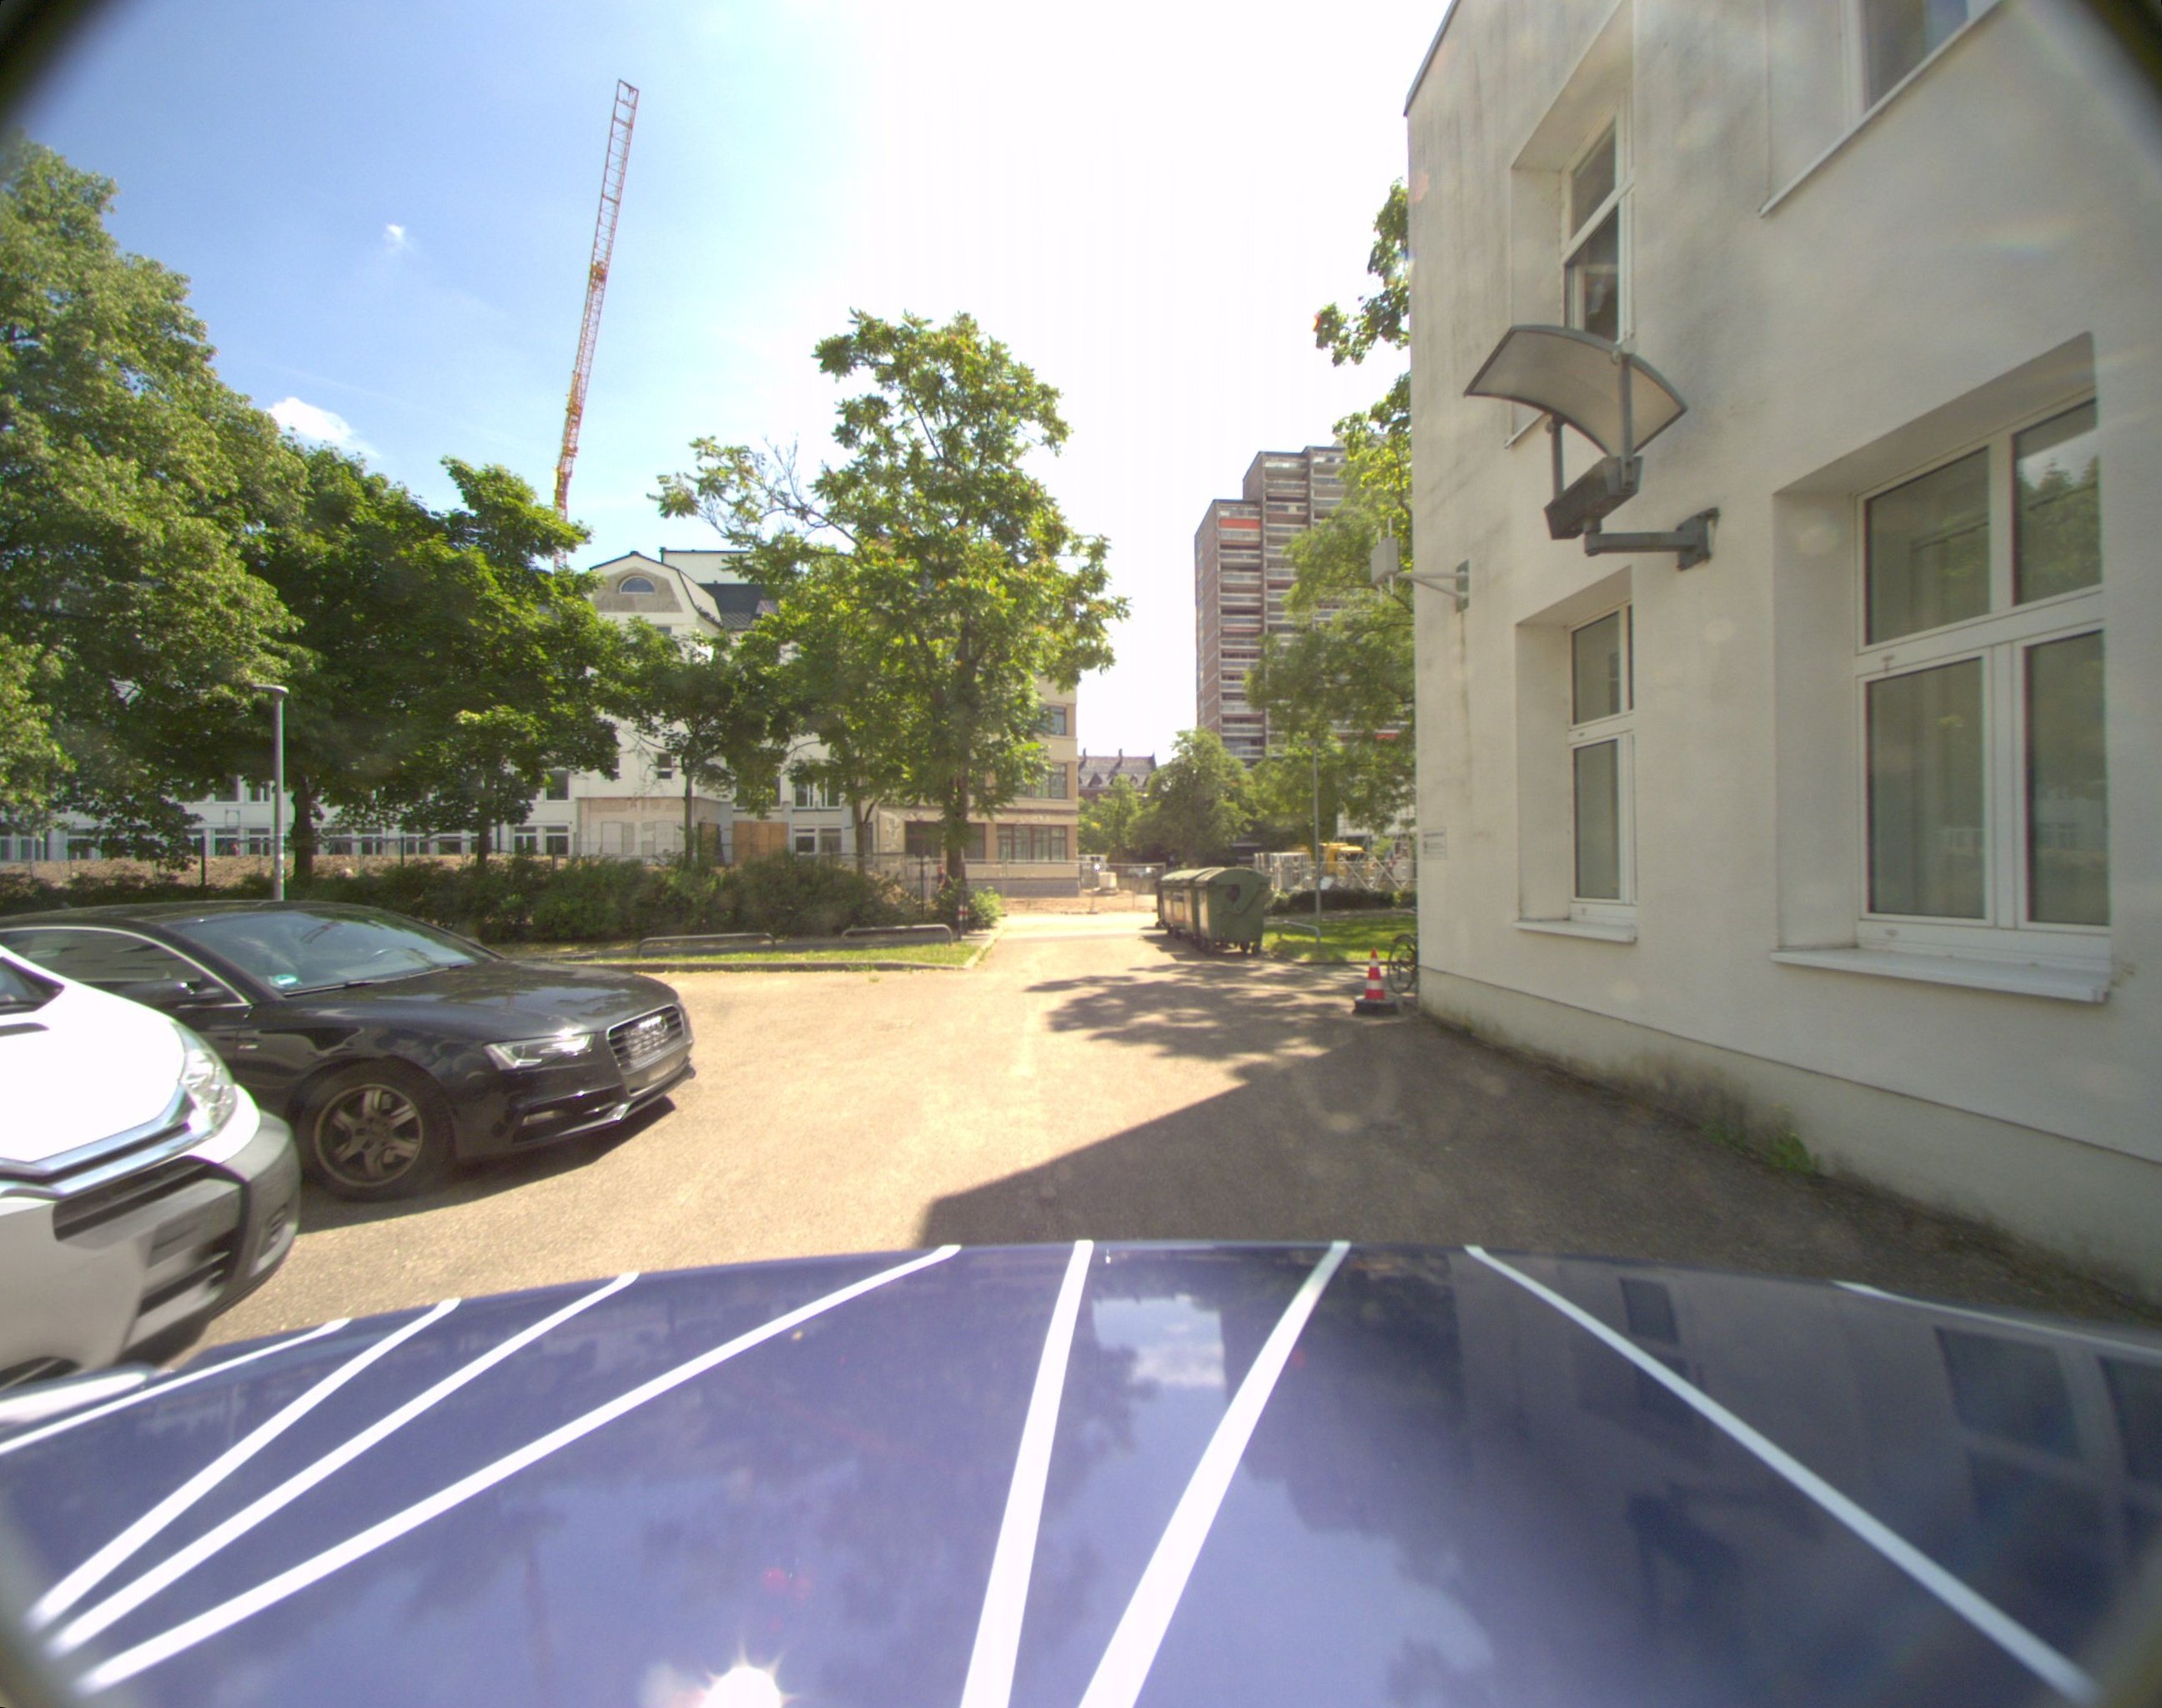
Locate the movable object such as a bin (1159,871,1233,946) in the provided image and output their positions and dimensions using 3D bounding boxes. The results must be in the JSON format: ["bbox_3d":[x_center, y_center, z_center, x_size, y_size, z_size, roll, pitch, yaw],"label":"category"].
[{"bbox_3d":[2.365,1.088,15.766,1.097,1.470,1.359,0,-1,-13],"label":"movable object such as a bin"}]

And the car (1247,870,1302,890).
[{"bbox_3d":[16.652,2.208,65.598,2.004,1.597,4.389,0,-1,-33],"label":"car"}]

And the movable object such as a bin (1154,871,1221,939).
[{"bbox_3d":[2.376,1.118,17.123,1.207,1.470,1.324,0,-1,-6],"label":"movable object such as a bin"}]

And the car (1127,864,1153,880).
[{"bbox_3d":[7.518,2.239,95.983,1.995,2.001,4.007,-1,-1,25],"label":"car"}]

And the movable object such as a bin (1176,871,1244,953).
[{"bbox_3d":[2.412,1.057,14.379,1.047,1.470,1.262,0,-1,-2],"label":"movable object such as a bin"}]

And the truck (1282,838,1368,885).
[{"bbox_3d":[22.133,0.690,69.725,2.752,3.982,9.734,-1,-1,-14],"label":"truck"}]

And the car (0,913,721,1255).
[{"bbox_3d":[-4.737,1.068,4.178,4.624,1.344,1.833,0,-1,-3],"label":"car"}]

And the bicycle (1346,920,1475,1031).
[{"bbox_3d":[3.465,1.240,8.165,0.613,0.952,1.730,0,-1,-1],"label":"bicycle"}]

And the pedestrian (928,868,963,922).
[{"bbox_3d":[-4.584,1.366,25.717,0.969,1.808,0.869,0,-1,-25],"label":"pedestrian"}]

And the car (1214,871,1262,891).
[{"bbox_3d":[11.635,1.969,56.581,1.625,1.431,3.576,0,-1,-27],"label":"car"}]

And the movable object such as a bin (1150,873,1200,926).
[{"bbox_3d":[2.570,1.219,20.719,1.113,1.386,1.162,0,-1,20],"label":"movable object such as a bin"}]

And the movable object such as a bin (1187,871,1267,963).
[{"bbox_3d":[2.445,1.025,12.887,1.047,1.470,1.410,0,-1,-2],"label":"movable object such as a bin"}]

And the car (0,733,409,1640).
[{"bbox_3d":[-4.776,0.744,1.632,4.772,2.002,2.000,0,0,-3],"label":"car"}]
